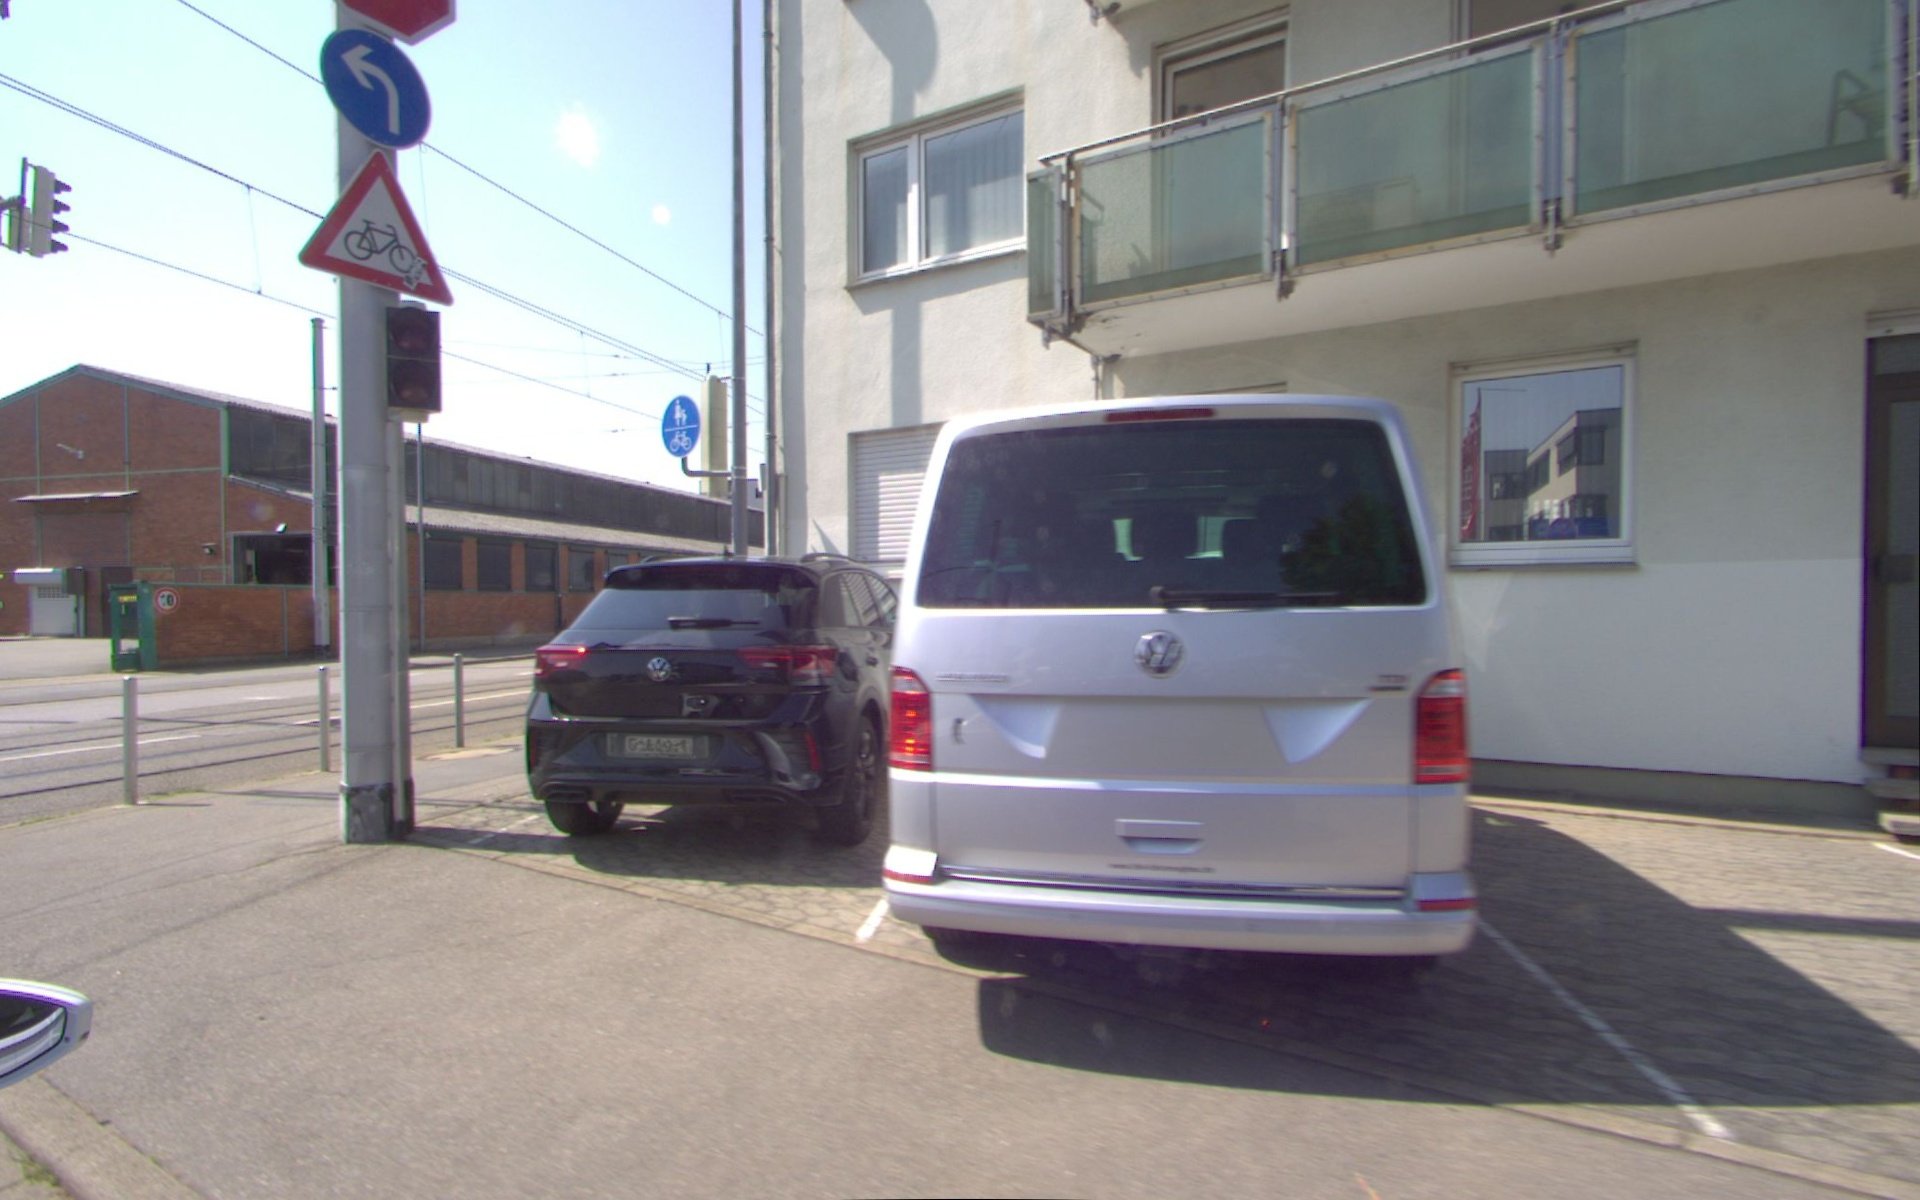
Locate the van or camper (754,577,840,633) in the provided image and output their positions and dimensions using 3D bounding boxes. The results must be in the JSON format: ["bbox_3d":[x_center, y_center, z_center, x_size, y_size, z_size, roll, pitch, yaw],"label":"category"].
[{"bbox_3d":[-7.879,0.229,49.021,2.006,2.568,5.862,0,1,14],"label":"van or camper"}]

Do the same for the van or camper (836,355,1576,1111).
[{"bbox_3d":[1.077,0.306,4.987,1.962,1.934,4.551,0,1,12],"label":"van or camper"}]

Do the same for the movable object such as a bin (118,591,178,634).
[{"bbox_3d":[-25.923,0.387,31.972,1.131,1.332,0.976,0,2,16],"label":"movable object such as a bin"}]

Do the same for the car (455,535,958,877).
[{"bbox_3d":[-1.203,0.474,6.593,1.844,1.541,3.972,0,0,8],"label":"car"}]

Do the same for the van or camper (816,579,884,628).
[{"bbox_3d":[-6.101,0.165,56.243,2.006,2.568,5.575,0,1,14],"label":"van or camper"}]
